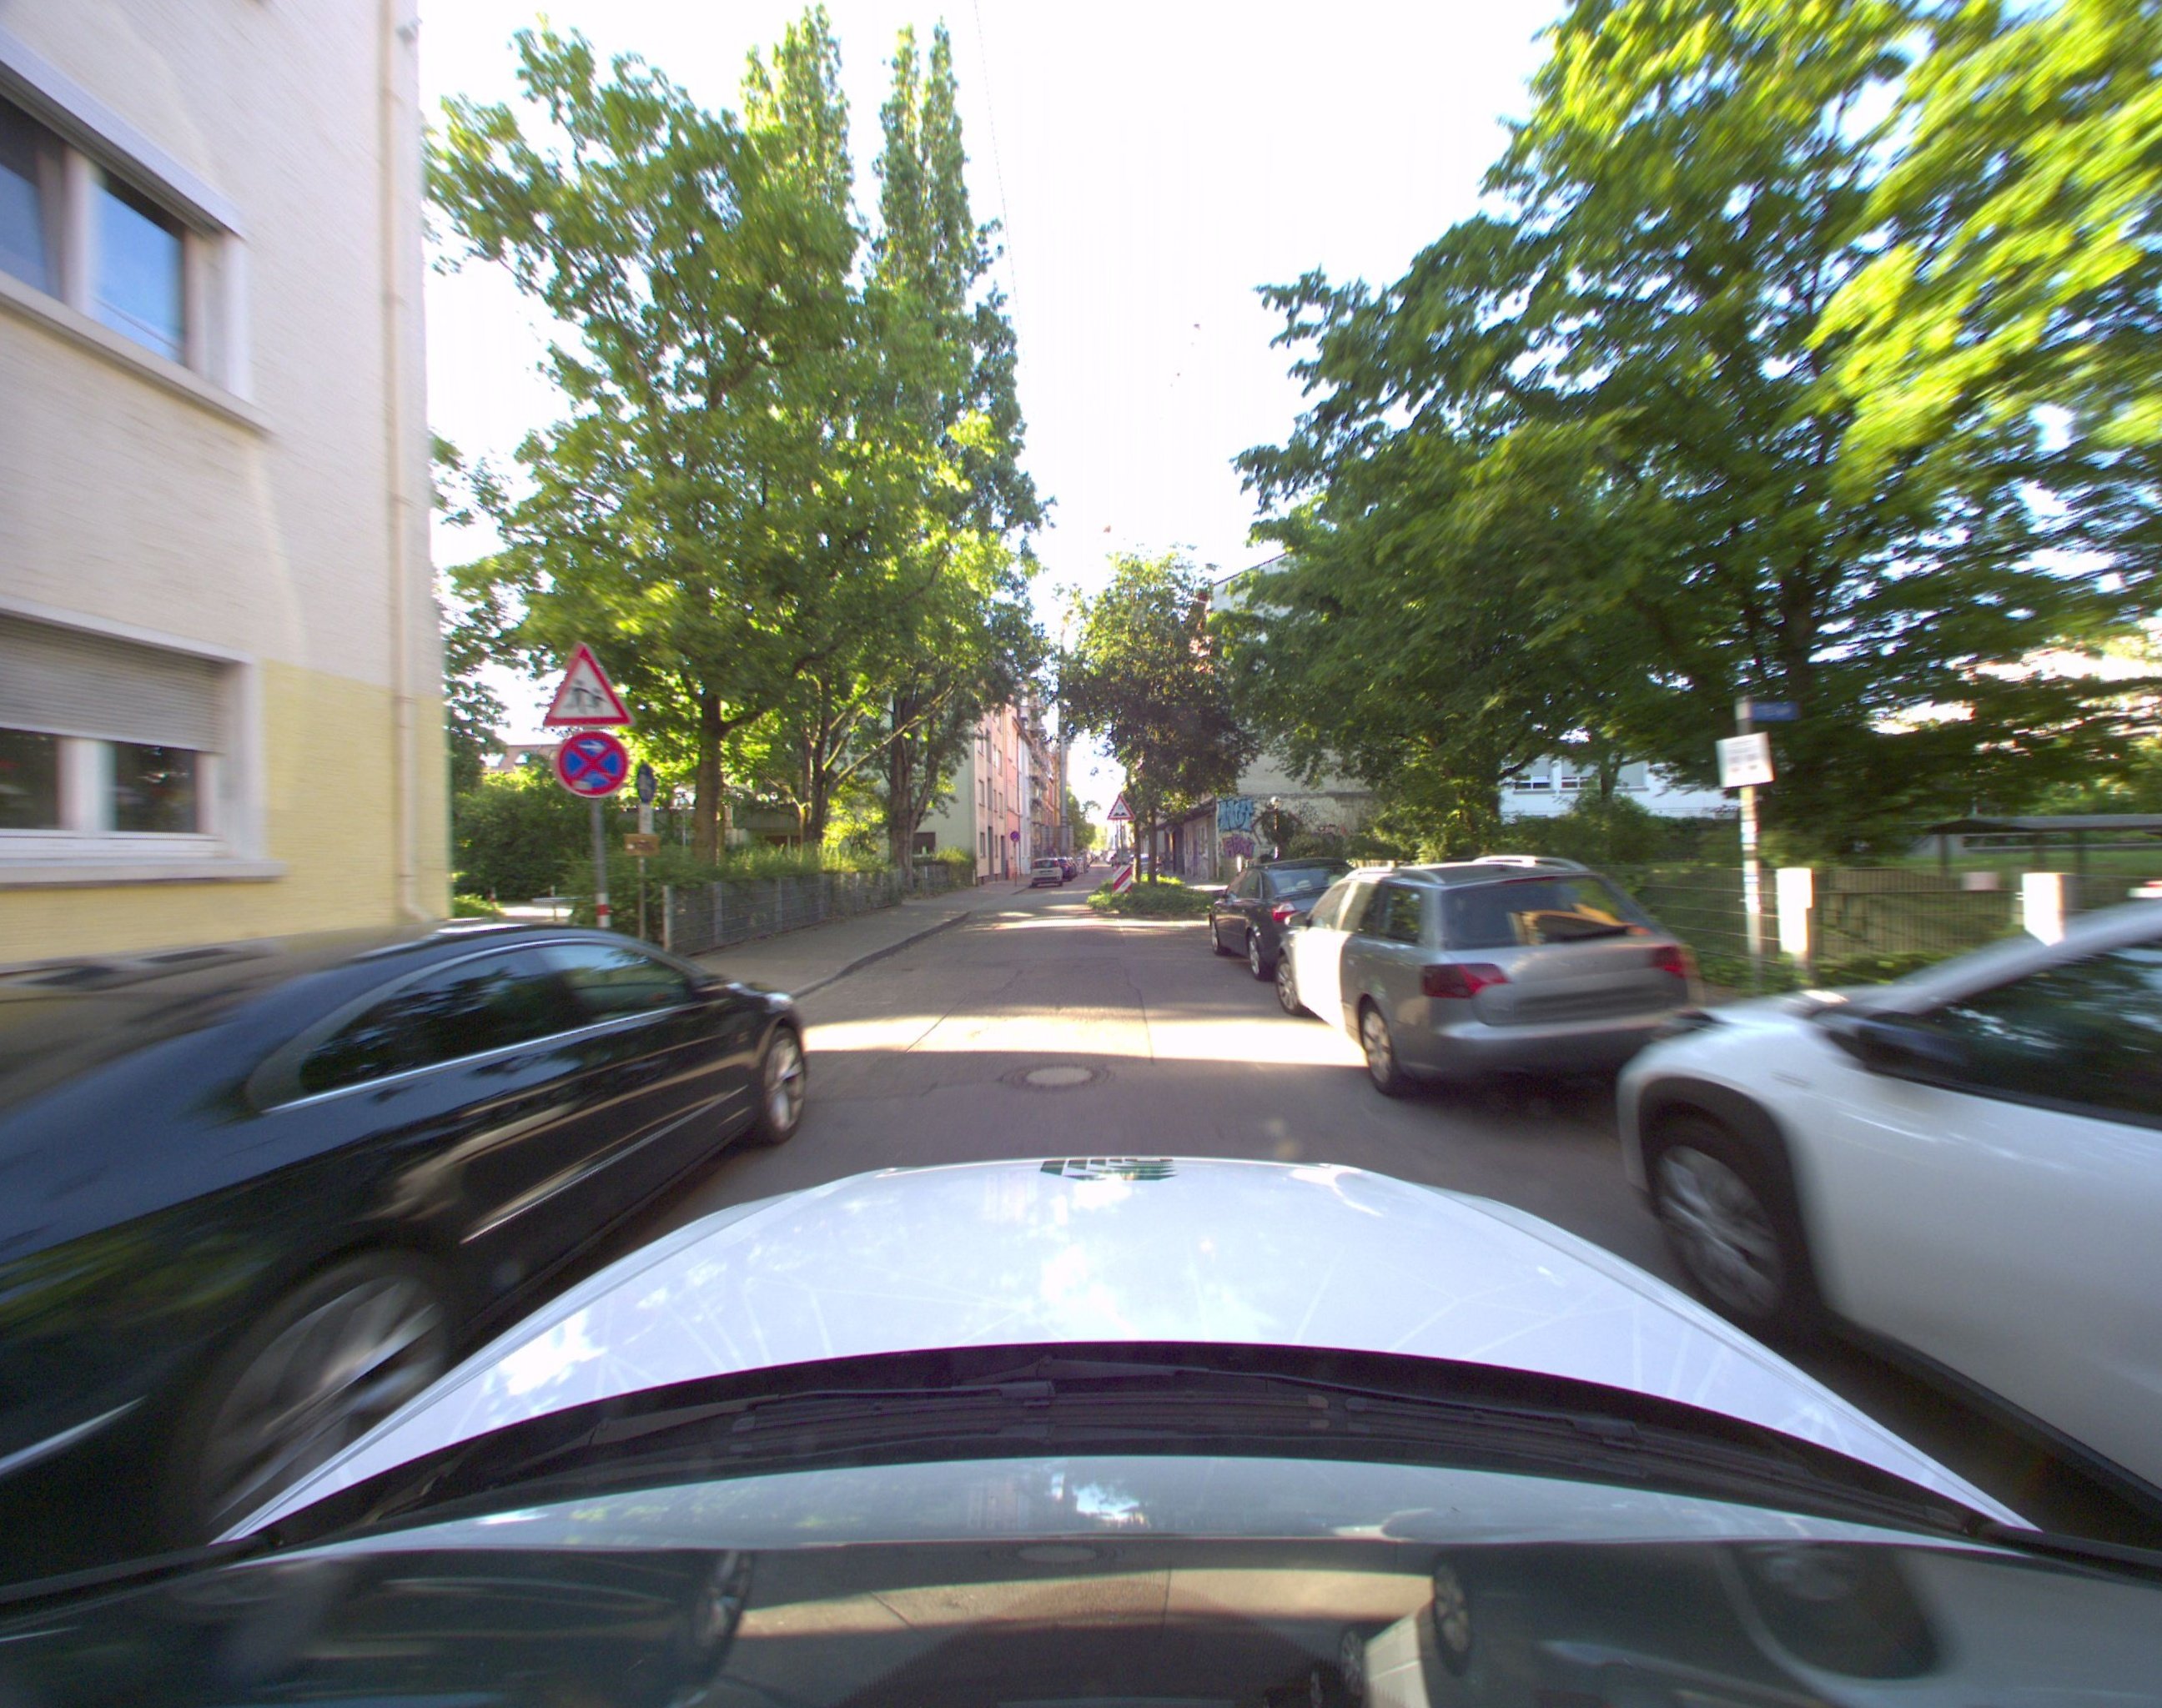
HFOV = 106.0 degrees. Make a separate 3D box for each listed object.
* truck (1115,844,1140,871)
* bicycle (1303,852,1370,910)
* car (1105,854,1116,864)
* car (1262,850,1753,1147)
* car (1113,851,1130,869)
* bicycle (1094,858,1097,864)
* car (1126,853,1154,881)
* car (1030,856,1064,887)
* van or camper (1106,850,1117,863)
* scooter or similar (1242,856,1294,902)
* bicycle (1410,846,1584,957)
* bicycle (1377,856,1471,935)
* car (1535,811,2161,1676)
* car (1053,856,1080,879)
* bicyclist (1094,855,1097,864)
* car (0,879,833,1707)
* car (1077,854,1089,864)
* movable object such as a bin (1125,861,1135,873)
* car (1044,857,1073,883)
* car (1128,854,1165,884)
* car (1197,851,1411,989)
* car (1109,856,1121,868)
[{"bbox_3d":[4.812,0.351,84.923,2.183,2.607,5.233,-3,0,0],"label":"truck"},{"bbox_3d":[6.051,0.600,19.475,0.843,1.267,2.694,-2,0,3],"label":"bicycle"},{"bbox_3d":[5.759,0.947,160.307,1.987,1.849,3.999,-3,0,0],"label":"car"},{"bbox_3d":[2.691,0.760,6.403,1.653,1.494,4.355,-2,0,2],"label":"car"},{"bbox_3d":[4.722,0.727,95.426,1.670,1.963,4.107,-2,-1,-1],"label":"car"},{"bbox_3d":[3.052,1.541,170.878,0.722,1.186,2.043,-1,1,2],"label":"bicycle"},{"bbox_3d":[3.746,0.830,52.021,1.633,1.656,3.871,-2,-1,2],"label":"car"},{"bbox_3d":[-1.815,0.939,44.149,1.670,1.540,3.867,-3,-1,-1],"label":"car"},{"bbox_3d":[6.510,0.539,174.465,1.989,2.508,4.197,-3,0,-3],"label":"van or camper"},{"bbox_3d":[5.395,0.715,23.556,0.548,1.262,1.459,-3,-1,-30],"label":"scooter or similar"},{"bbox_3d":[5.667,0.593,11.338,1.285,1.302,2.329,-4,0,4],"label":"bicycle"},{"bbox_3d":[5.831,0.667,13.980,0.843,1.200,1.983,-2,0,3],"label":"bicycle"},{"bbox_3d":[2.755,0.691,1.657,1.588,1.585,3.764,-2,0,1],"label":"car"},{"bbox_3d":[-1.027,0.954,58.083,1.669,1.511,4.415,-3,0,1],"label":"car"},{"bbox_3d":[3.052,1.171,170.883,0.727,1.761,0.835,-1,0,1],"label":"bicyclist"},{"bbox_3d":[-2.573,0.931,3.043,1.773,1.443,4.393,-4,-1,1],"label":"car"},{"bbox_3d":[0.344,0.941,149.746,1.987,1.849,3.999,-3,0,0],"label":"car"},{"bbox_3d":[4.357,1.156,72.659,0.792,1.056,0.660,-2,0,1],"label":"movable object such as a bin"},{"bbox_3d":[-1.443,1.012,52.974,1.724,1.540,4.375,-3,0,-1],"label":"car"},{"bbox_3d":[3.631,0.812,45.715,1.715,1.562,4.398,-1,-1,0],"label":"car"},{"bbox_3d":[2.879,0.767,11.544,1.716,1.494,4.412,-3,0,-1],"label":"car"},{"bbox_3d":[6.129,1.360,145.834,1.987,2.013,3.999,-2,0,0],"label":"car"}]
